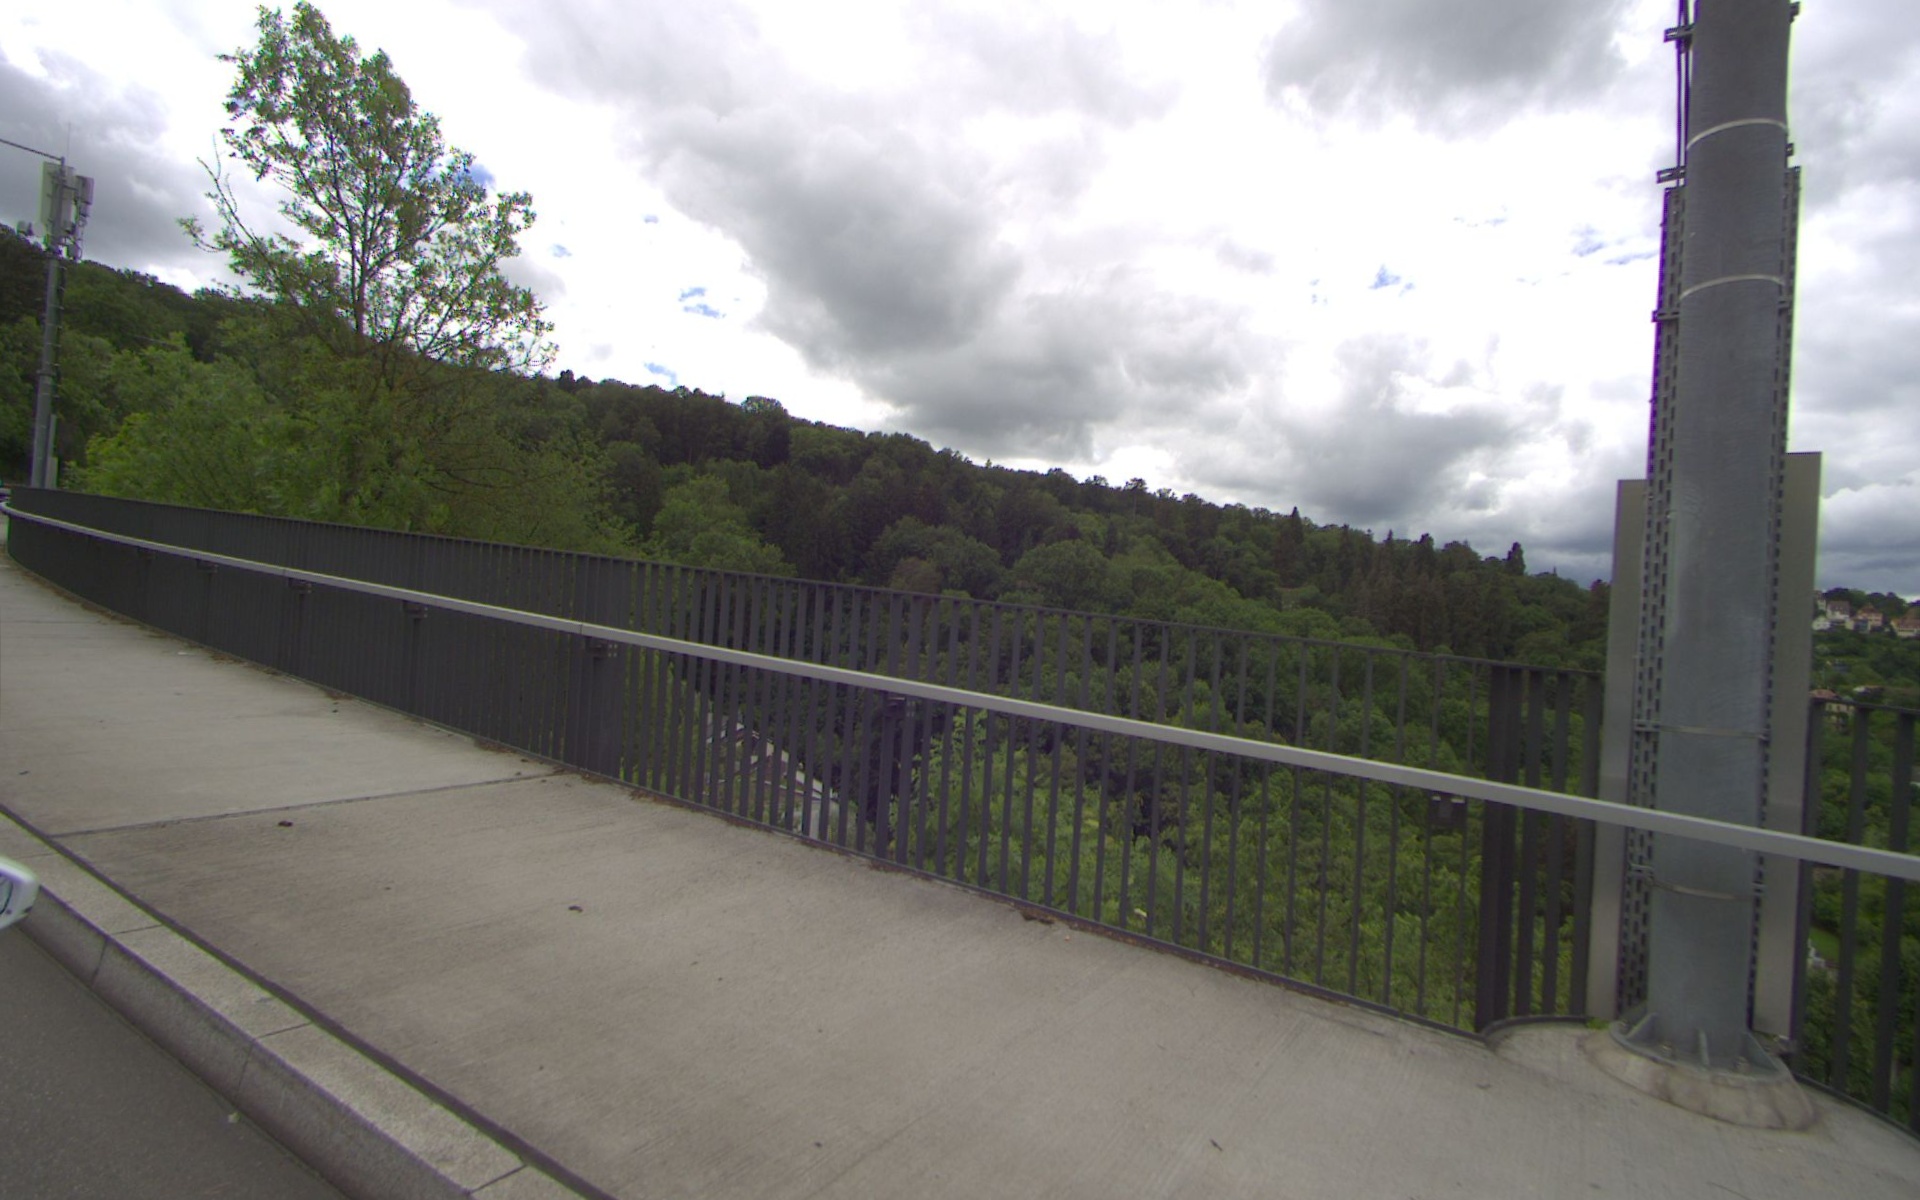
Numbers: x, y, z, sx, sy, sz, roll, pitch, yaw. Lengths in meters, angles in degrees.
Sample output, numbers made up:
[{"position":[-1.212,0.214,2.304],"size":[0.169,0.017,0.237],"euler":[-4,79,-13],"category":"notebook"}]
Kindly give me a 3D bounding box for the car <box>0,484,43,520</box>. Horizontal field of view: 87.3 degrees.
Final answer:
[{"position":[-52.623,-5.454,55.850],"size":[1.983,1.737,3.960],"euler":[7,-1,-37],"category":"car"}]

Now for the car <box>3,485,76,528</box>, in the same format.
[{"position":[-45.901,-4.607,50.248],"size":[1.982,1.737,3.963],"euler":[7,-1,-34],"category":"car"}]
